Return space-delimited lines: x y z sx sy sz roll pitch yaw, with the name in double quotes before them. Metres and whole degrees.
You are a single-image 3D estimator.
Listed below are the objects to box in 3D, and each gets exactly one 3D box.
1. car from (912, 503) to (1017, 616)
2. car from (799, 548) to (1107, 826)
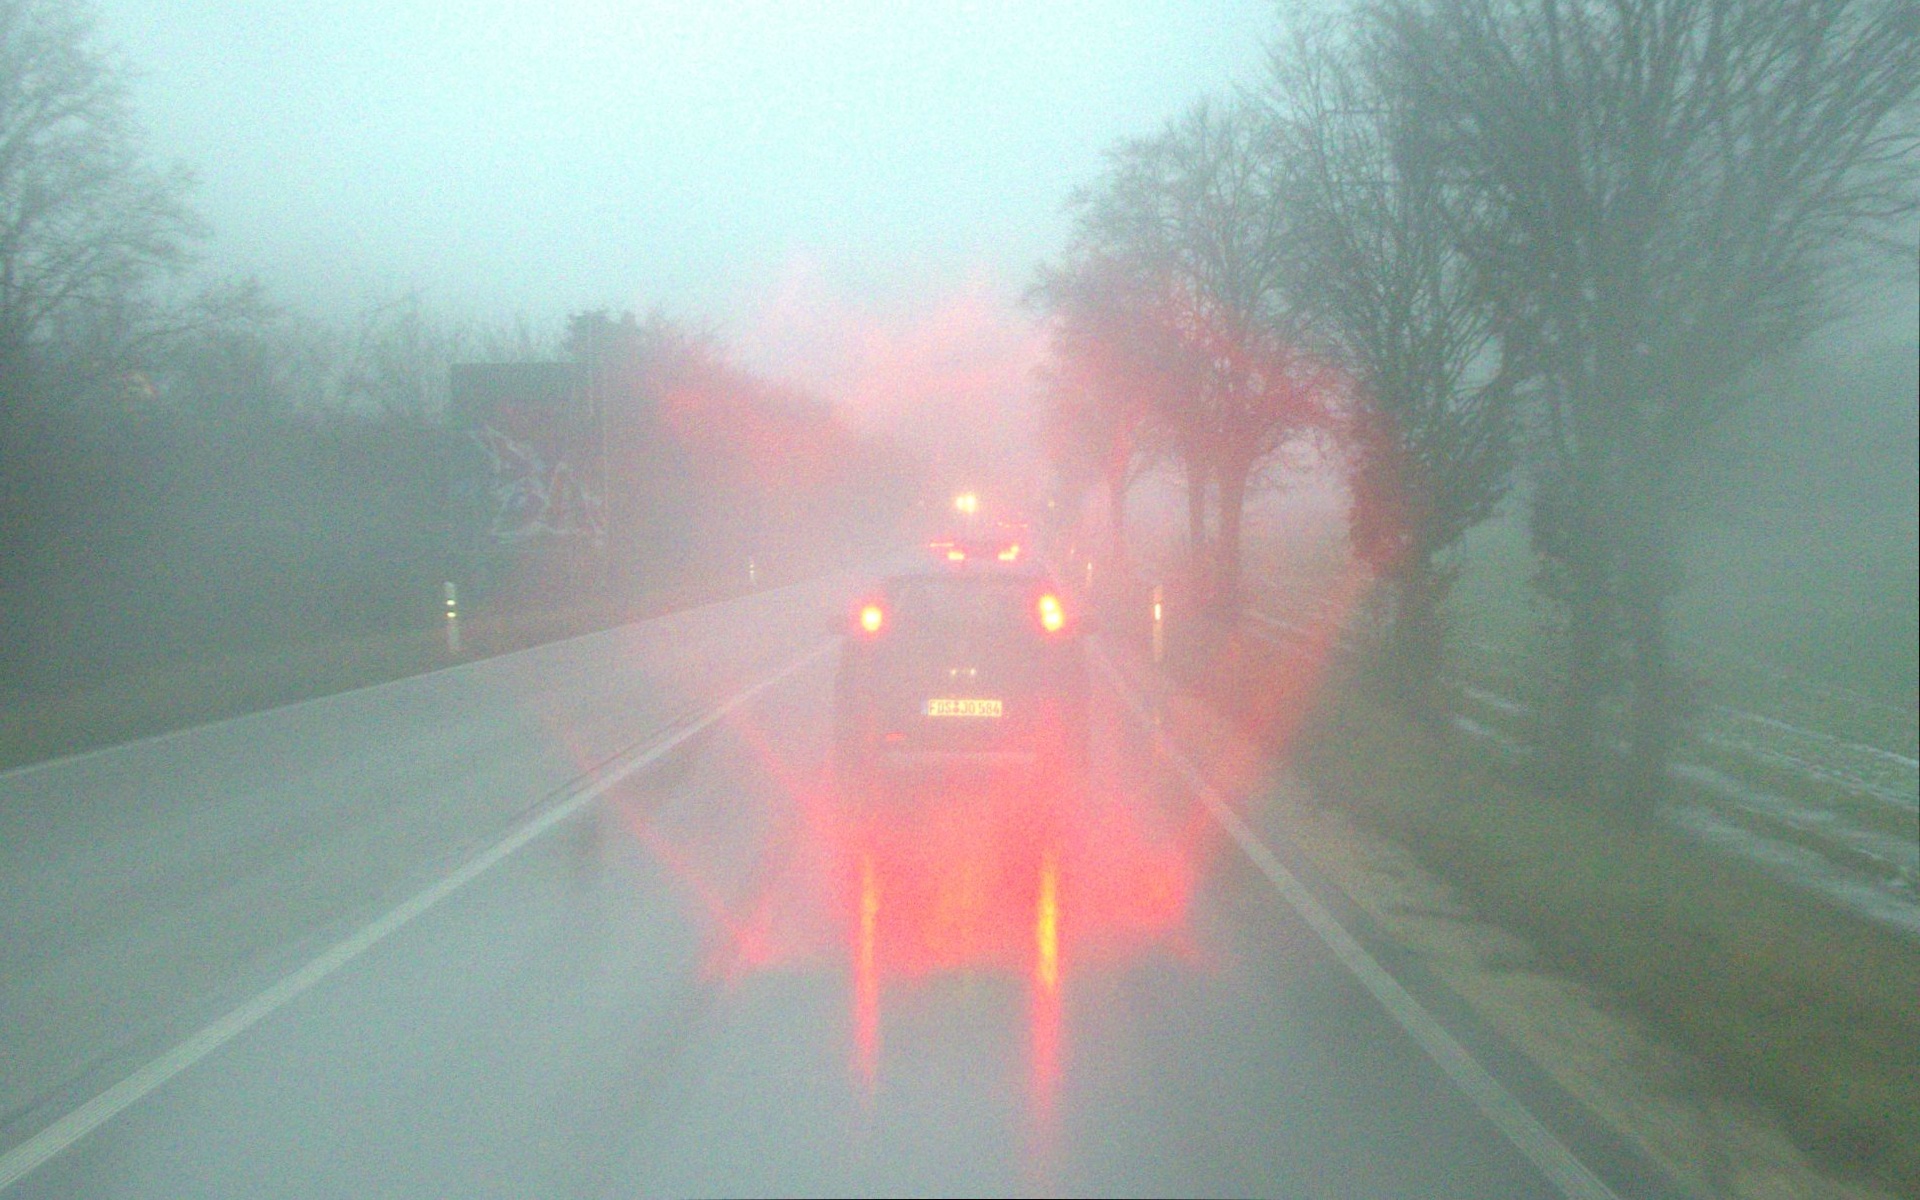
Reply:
"car" 0.120 -0.944 77.348 1.994 2.006 4.001 5 6 3
"car" -0.002 0.534 24.271 1.993 1.746 4.000 0 2 1
